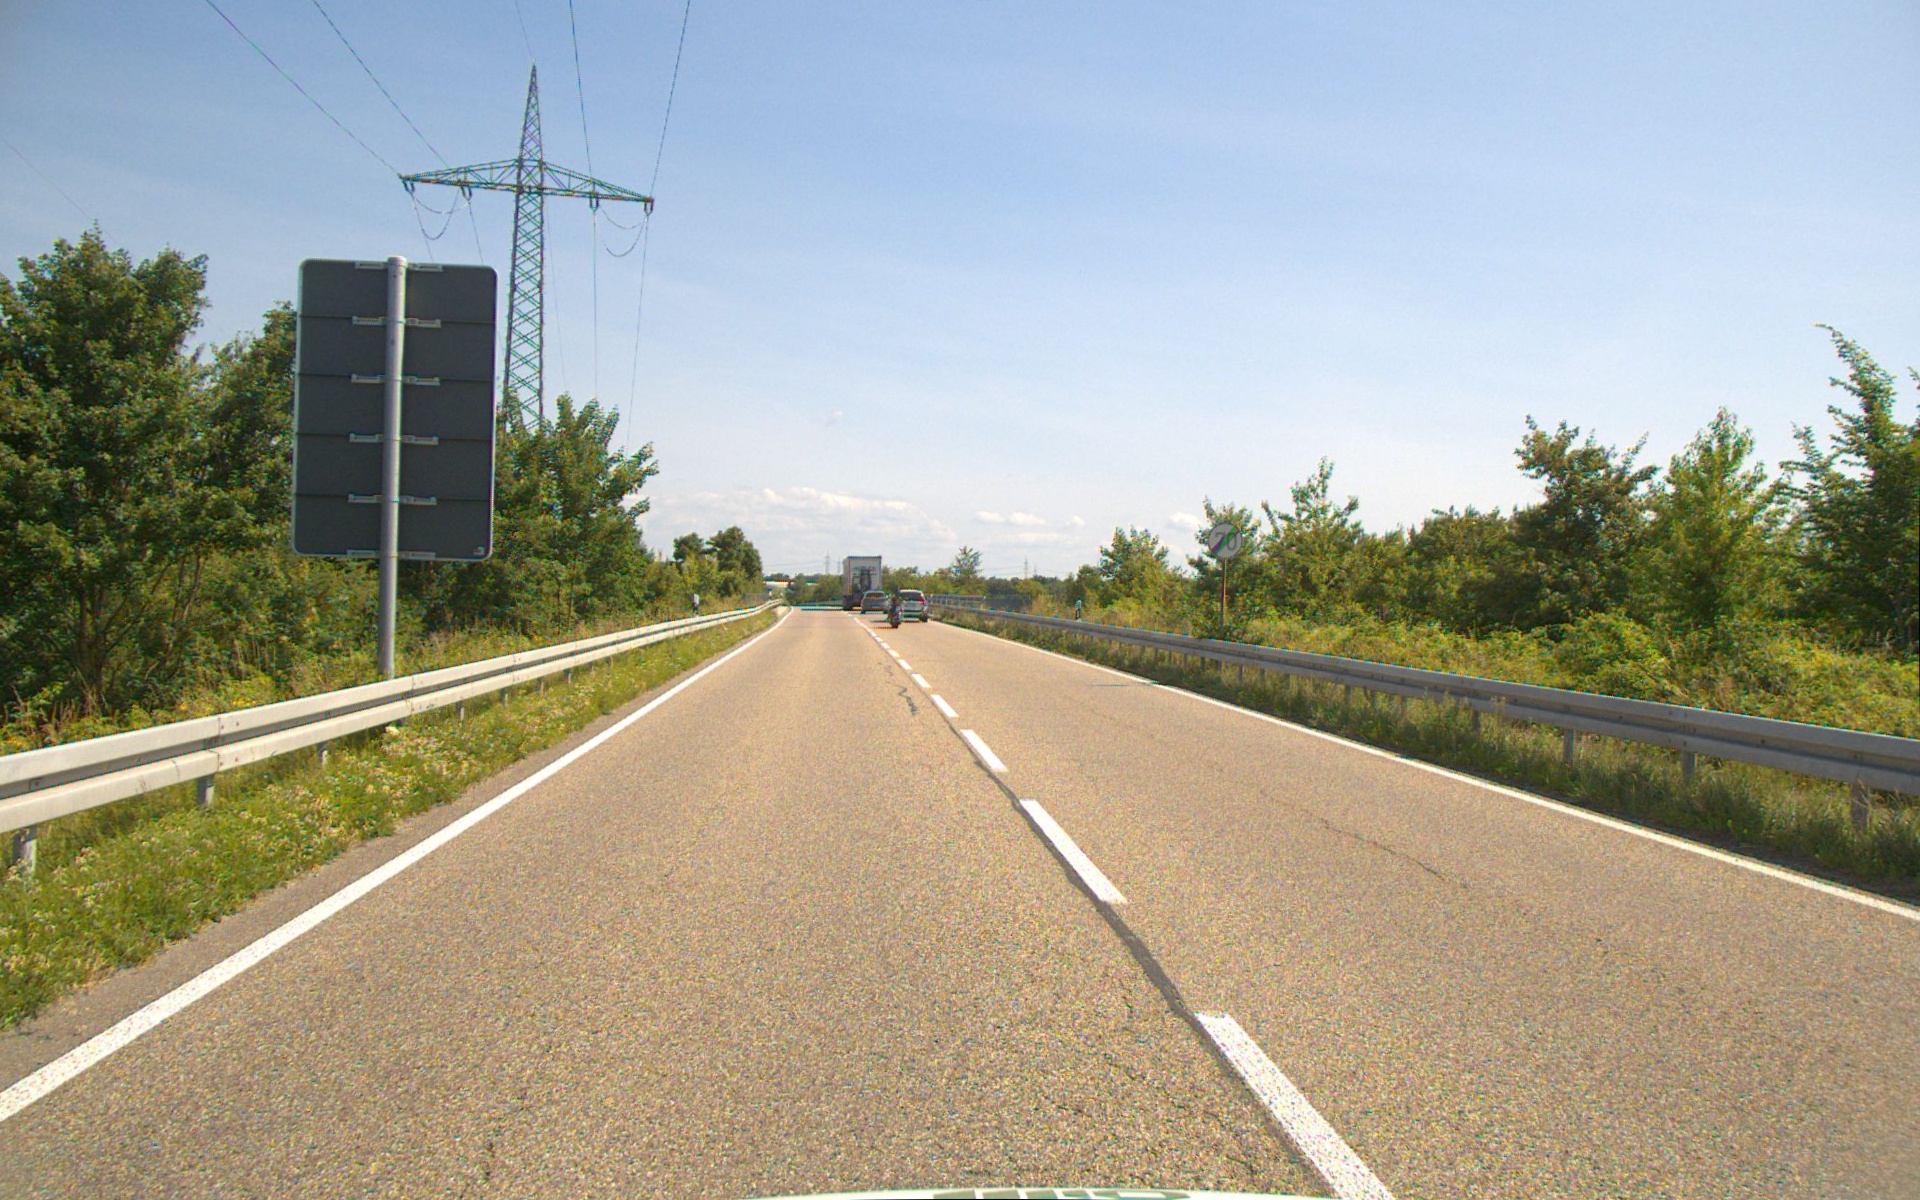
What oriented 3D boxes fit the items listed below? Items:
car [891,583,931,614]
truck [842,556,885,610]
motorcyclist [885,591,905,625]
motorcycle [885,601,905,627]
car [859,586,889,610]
[{"bbox_3d":[-2.451,-0.097,81.912,1.789,1.477,3.997,1,1,-4],"label":"car"},{"bbox_3d":[-7.594,-1.324,129.683,3.177,4.048,9.437,1,0,-4],"label":"truck"},{"bbox_3d":[-2.661,0.321,67.588,0.765,1.349,0.812,1,0,-4],"label":"motorcyclist"},{"bbox_3d":[-2.673,0.573,67.569,0.765,0.992,2.360,1,1,-4],"label":"motorcycle"},{"bbox_3d":[-5.502,-0.118,105.805,1.829,1.445,3.997,1,1,-4],"label":"car"}]
